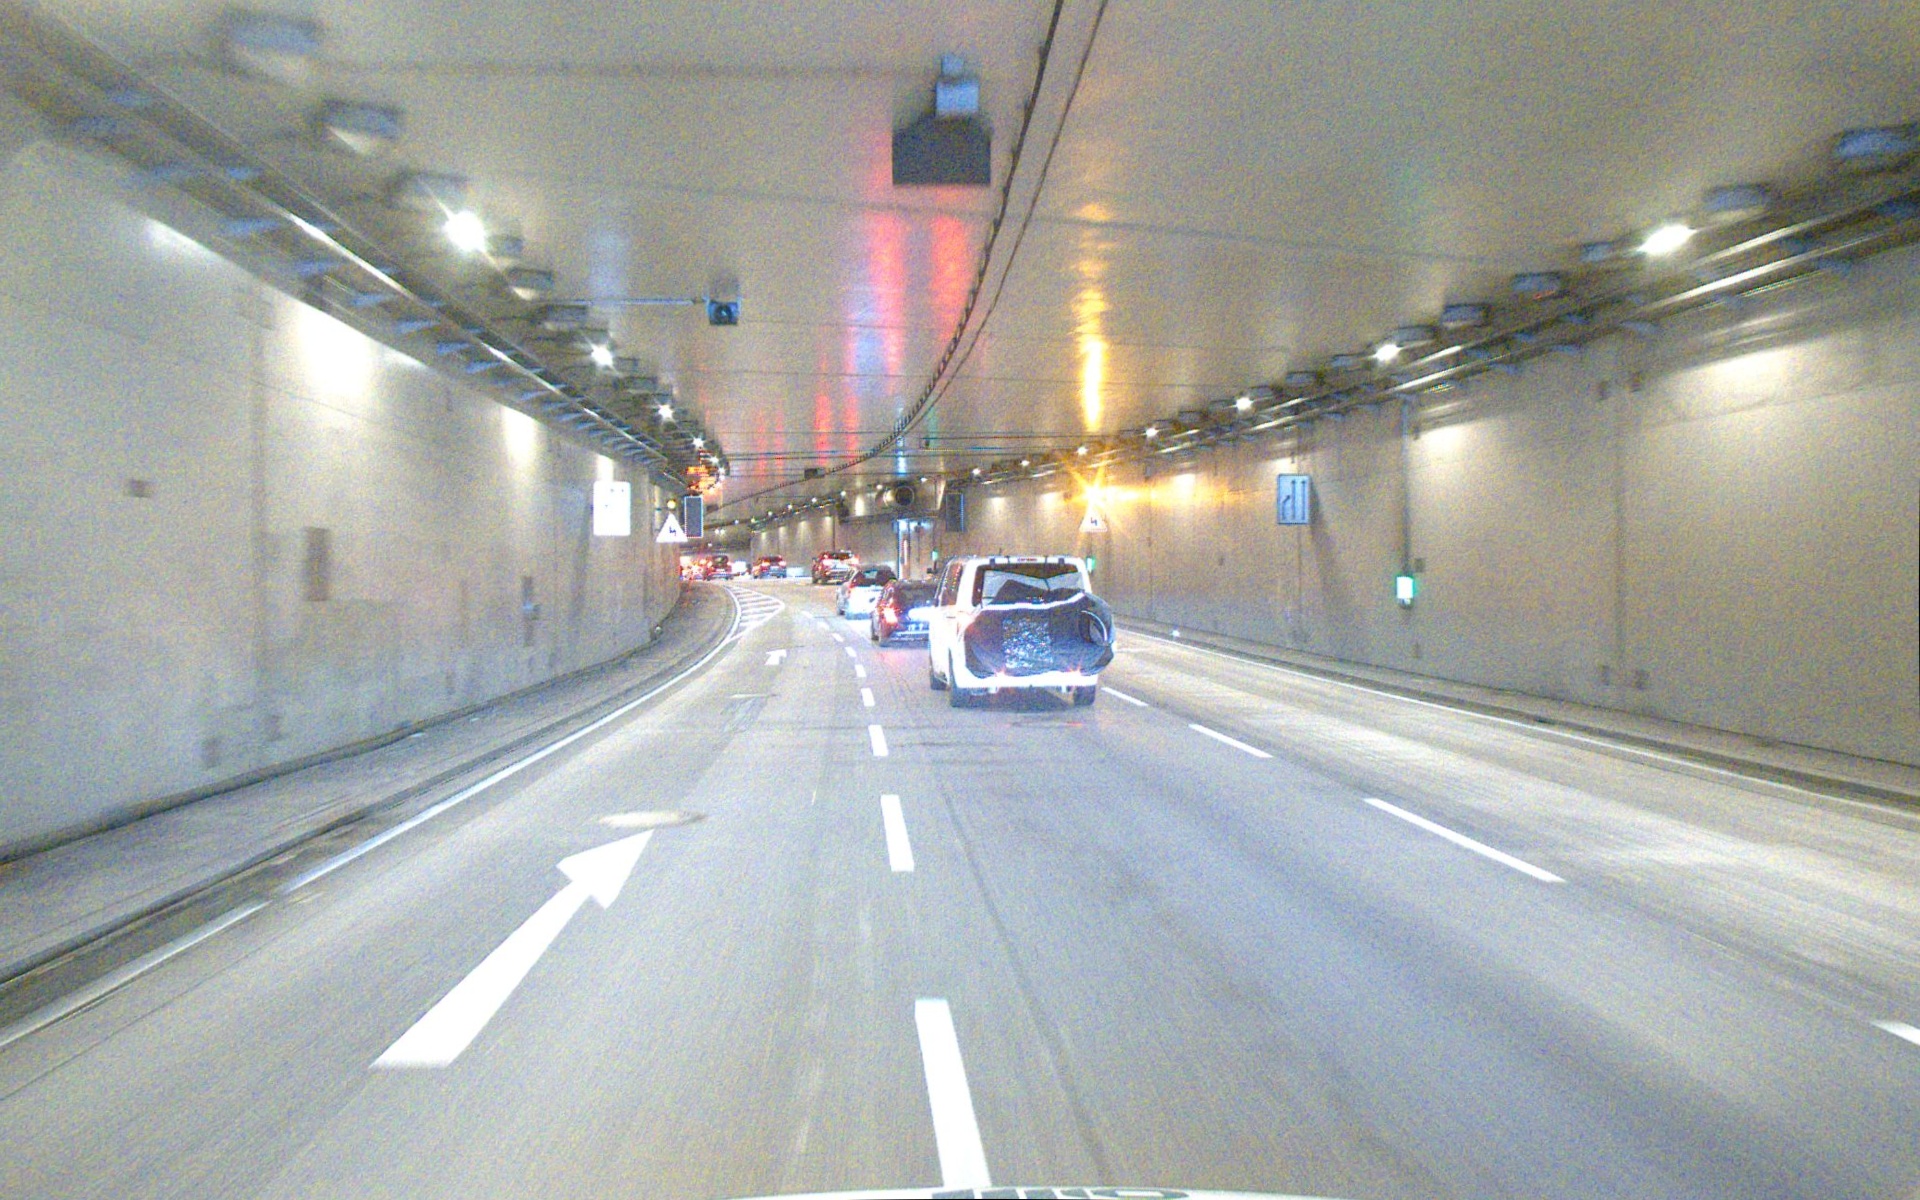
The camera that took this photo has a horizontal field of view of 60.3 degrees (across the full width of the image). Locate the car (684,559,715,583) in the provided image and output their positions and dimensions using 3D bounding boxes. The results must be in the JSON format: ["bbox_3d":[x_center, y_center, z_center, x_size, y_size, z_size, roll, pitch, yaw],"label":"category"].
[{"bbox_3d":[-18.754,-2.059,119.022,1.792,1.659,3.828,1,0,-15],"label":"car"}]

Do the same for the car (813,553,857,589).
[{"bbox_3d":[-6.095,-1.384,80.392,1.575,1.659,3.343,1,0,-14],"label":"car"}]

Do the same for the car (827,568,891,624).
[{"bbox_3d":[-3.091,-0.146,50.301,1.574,1.621,3.348,0,1,-10],"label":"car"}]

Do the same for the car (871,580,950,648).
[{"bbox_3d":[-1.129,0.271,36.680,1.571,1.419,3.274,0,1,-5],"label":"car"}]

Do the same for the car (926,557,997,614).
[{"bbox_3d":[0.013,-0.448,54.941,1.837,1.792,3.993,1,-1,-7],"label":"car"}]

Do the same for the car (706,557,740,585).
[{"bbox_3d":[-14.632,-1.774,101.989,1.790,1.659,3.832,1,0,-12],"label":"car"}]

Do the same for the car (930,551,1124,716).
[{"bbox_3d":[0.730,0.330,21.667,1.954,1.879,5.297,0,1,-4],"label":"car"}]

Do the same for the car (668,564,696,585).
[{"bbox_3d":[-23.234,-2.127,138.159,1.793,1.659,3.825,1,0,-17],"label":"car"}]

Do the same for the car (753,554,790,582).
[{"bbox_3d":[-11.962,-2.037,104.777,1.791,1.659,3.829,1,0,-14],"label":"car"}]
